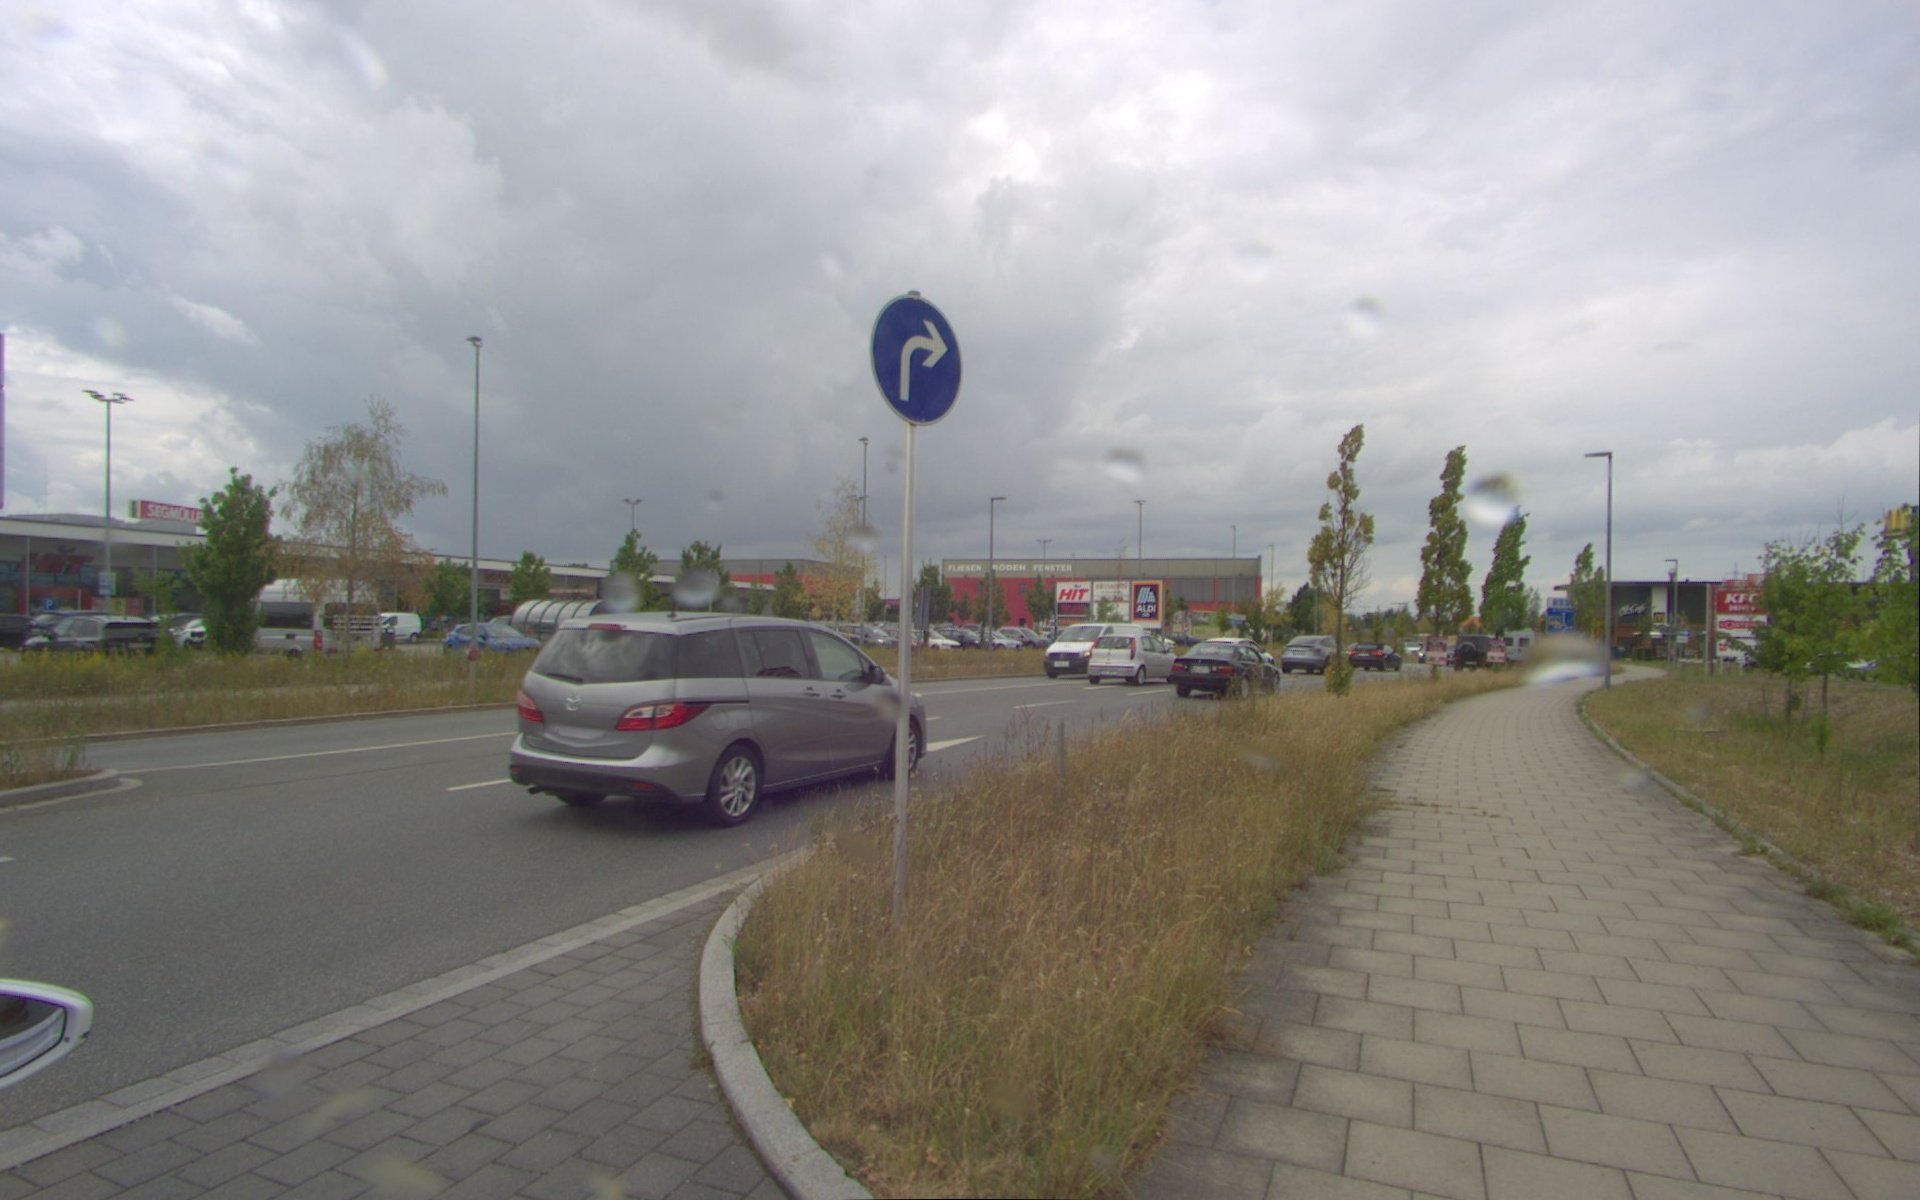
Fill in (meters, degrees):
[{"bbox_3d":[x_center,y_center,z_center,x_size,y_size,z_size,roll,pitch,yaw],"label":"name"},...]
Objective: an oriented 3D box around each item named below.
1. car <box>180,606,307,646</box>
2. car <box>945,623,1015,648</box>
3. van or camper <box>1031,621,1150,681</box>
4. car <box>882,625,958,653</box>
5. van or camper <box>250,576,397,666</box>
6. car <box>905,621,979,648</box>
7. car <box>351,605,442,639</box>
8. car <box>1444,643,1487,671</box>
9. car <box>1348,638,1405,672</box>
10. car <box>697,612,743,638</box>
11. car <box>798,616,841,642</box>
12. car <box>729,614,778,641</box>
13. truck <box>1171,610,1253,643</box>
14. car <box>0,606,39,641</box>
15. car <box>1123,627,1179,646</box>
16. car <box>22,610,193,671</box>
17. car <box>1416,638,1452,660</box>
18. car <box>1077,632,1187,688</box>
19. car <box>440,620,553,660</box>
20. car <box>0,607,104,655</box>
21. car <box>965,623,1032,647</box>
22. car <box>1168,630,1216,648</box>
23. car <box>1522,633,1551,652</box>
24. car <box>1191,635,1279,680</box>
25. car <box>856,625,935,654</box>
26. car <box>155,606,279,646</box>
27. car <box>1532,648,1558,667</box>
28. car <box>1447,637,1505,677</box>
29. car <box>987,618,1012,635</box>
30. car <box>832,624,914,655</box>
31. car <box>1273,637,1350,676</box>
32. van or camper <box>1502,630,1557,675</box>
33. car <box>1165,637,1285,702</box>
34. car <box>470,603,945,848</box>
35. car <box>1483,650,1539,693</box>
[{"bbox_3d":[-30.803,1.122,43.154,1.968,1.639,3.986,1,-1,27],"label":"car"},{"bbox_3d":[1.194,2.107,60.090,3.758,1.408,1.905,1,-1,31],"label":"car"},{"bbox_3d":[4.663,1.733,35.153,1.973,1.936,5.173,0,-1,35],"label":"van or camper"},{"bbox_3d":[-2.182,2.091,54.533,3.758,1.408,1.905,1,-1,31],"label":"car"},{"bbox_3d":[-19.218,0.639,30.210,3.943,2.524,2.279,0,-2,32],"label":"van or camper"},{"bbox_3d":[-1.023,1.939,56.412,3.758,1.408,1.905,1,-1,31],"label":"car"},{"bbox_3d":[-32.030,1.276,57.051,1.964,1.842,4.424,0,-2,16],"label":"car"},{"bbox_3d":[31.720,3.528,62.800,1.883,1.589,4.310,0,-1,34],"label":"car"},{"bbox_3d":[20.779,2.715,49.870,1.882,1.588,4.313,0,-2,33],"label":"car"},{"bbox_3d":[-16.706,1.726,69.913,1.729,1.675,3.835,1,-1,10],"label":"car"},{"bbox_3d":[-9.374,1.919,67.278,1.729,1.675,3.835,1,-1,10],"label":"car"},{"bbox_3d":[-14.238,1.860,69.227,1.962,1.756,3.998,1,-1,11],"label":"car"},{"bbox_3d":[23.521,2.522,93.304,8.077,2.983,2.662,2,-1,-34],"label":"truck"},{"bbox_3d":[-43.746,1.028,44.277,1.965,1.527,3.993,1,-1,20],"label":"car"},{"bbox_3d":[15.143,2.882,79.297,3.942,1.460,1.991,-1,-2,32],"label":"car"},{"bbox_3d":[-22.342,1.035,26.238,4.084,1.469,1.988,0,-2,27],"label":"car"},{"bbox_3d":[36.977,3.812,78.120,1.883,1.588,4.312,0,-2,34],"label":"car"},{"bbox_3d":[5.114,1.699,29.462,1.776,1.480,3.794,0,-1,35],"label":"car"},{"bbox_3d":[-16.903,1.432,36.494,4.090,1.402,1.802,-1,-2,32],"label":"car"},{"bbox_3d":[-33.660,1.114,36.959,3.937,1.675,1.813,0,-1,28],"label":"car"},{"bbox_3d":[2.378,2.148,62.043,3.758,1.408,1.905,1,-1,31],"label":"car"},{"bbox_3d":[19.653,3.284,84.973,3.775,1.446,1.739,1,-1,20],"label":"car"},{"bbox_3d":[43.110,3.154,74.853,1.476,1.403,3.320,0,-1,37],"label":"car"},{"bbox_3d":[10.049,2.041,36.368,1.776,1.469,4.224,0,-1,35],"label":"car"},{"bbox_3d":[-3.381,2.040,52.536,3.758,1.408,1.905,1,-1,31],"label":"car"},{"bbox_3d":[-32.961,1.146,44.513,1.968,1.639,3.986,1,-1,27],"label":"car"},{"bbox_3d":[46.622,4.557,79.759,1.476,1.403,3.320,0,-2,37],"label":"car"},{"bbox_3d":[26.736,2.921,51.799,1.973,1.948,4.819,0,-2,36],"label":"car"},{"bbox_3d":[4.051,2.674,102.816,1.730,1.675,3.832,1,-1,15],"label":"car"},{"bbox_3d":[-4.399,1.958,50.640,3.758,1.408,1.905,1,-1,31],"label":"car"},{"bbox_3d":[15.040,2.362,42.687,1.786,1.527,4.855,0,-1,35],"label":"car"},{"bbox_3d":[34.940,3.222,61.356,2.168,2.573,6.128,0,-2,37],"label":"van or camper"},{"bbox_3d":[6.670,1.658,24.876,1.733,1.404,4.281,1,-1,31],"label":"car"},{"bbox_3d":[-1.910,0.894,9.075,1.791,1.583,4.388,2,0,25],"label":"car"},{"bbox_3d":[23.556,3.014,42.753,1.664,1.698,3.483,0,-2,37],"label":"car"}]
